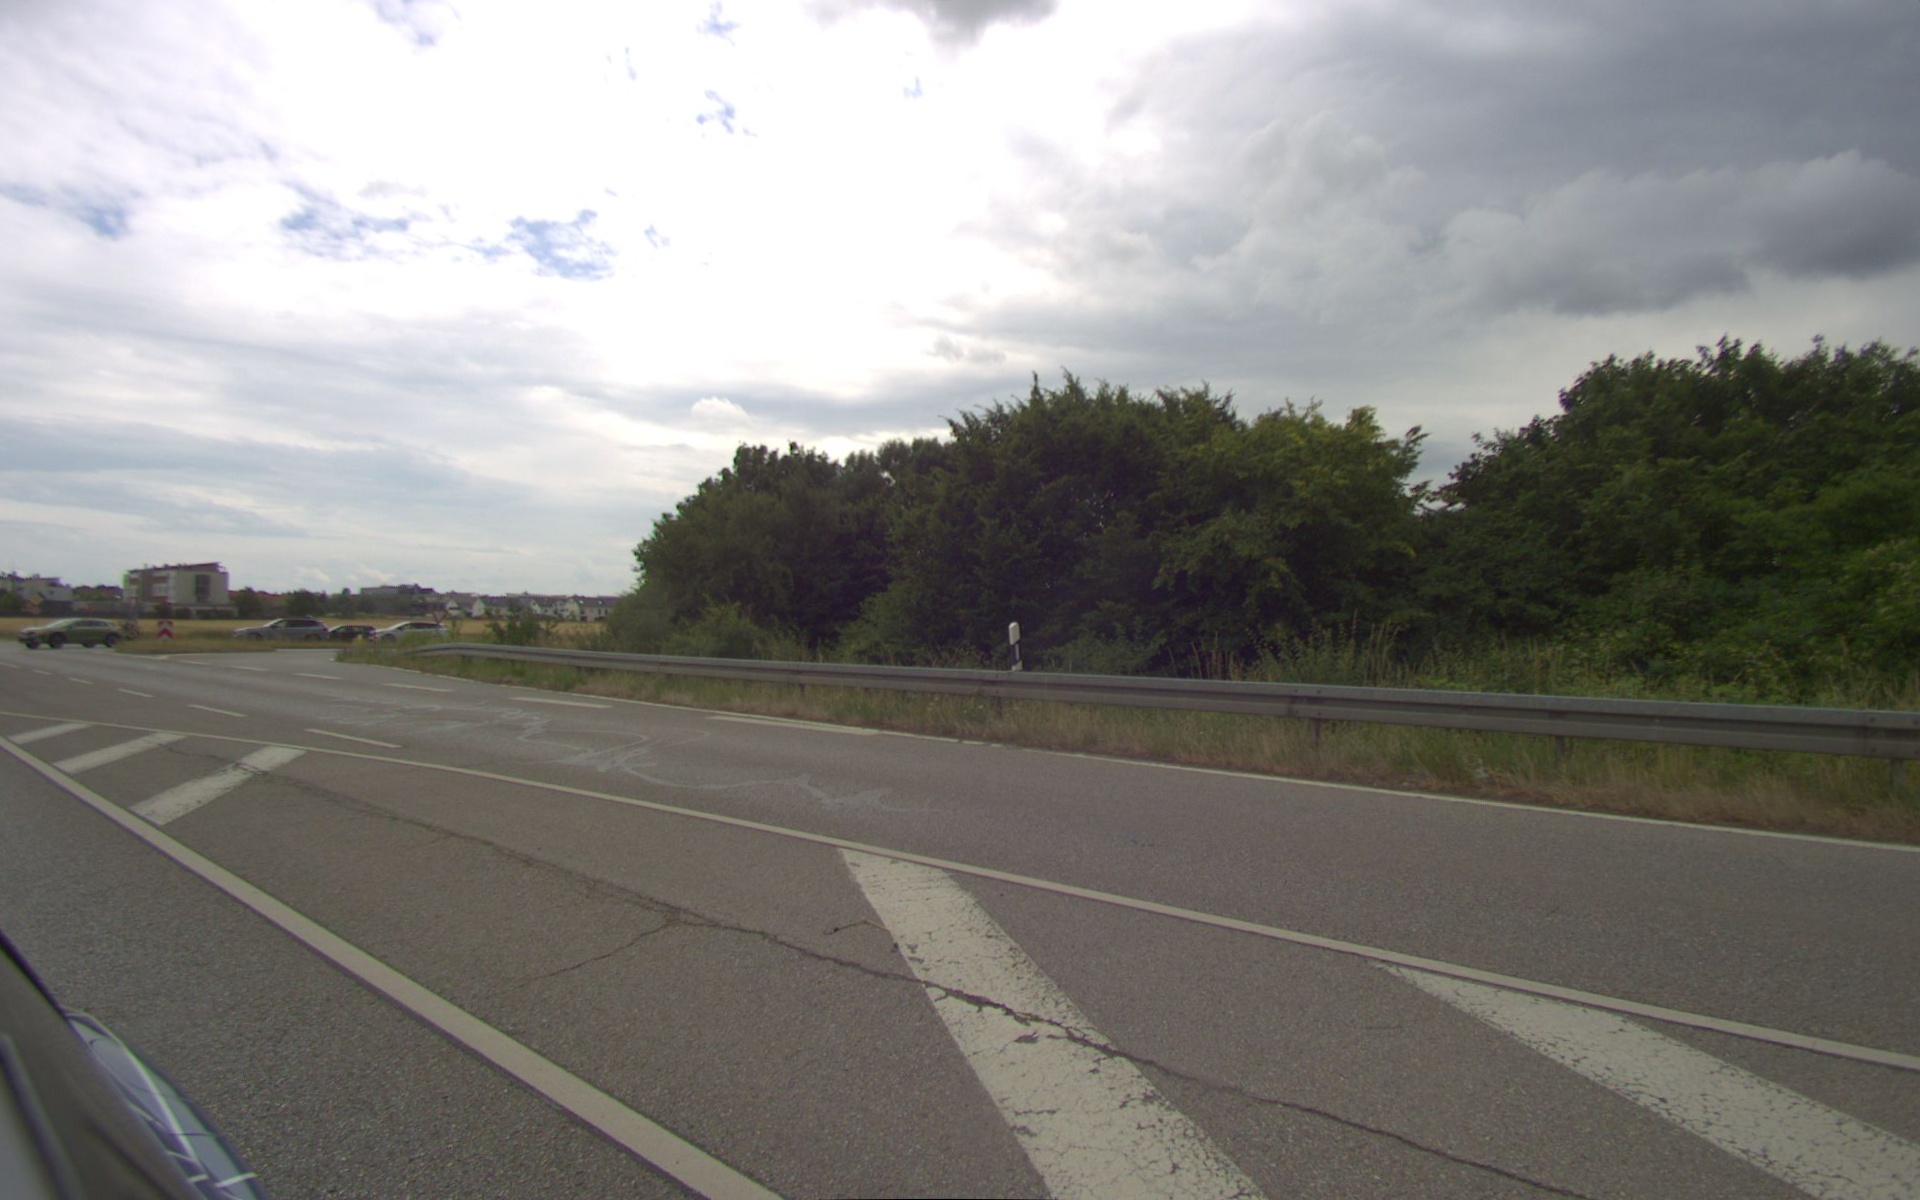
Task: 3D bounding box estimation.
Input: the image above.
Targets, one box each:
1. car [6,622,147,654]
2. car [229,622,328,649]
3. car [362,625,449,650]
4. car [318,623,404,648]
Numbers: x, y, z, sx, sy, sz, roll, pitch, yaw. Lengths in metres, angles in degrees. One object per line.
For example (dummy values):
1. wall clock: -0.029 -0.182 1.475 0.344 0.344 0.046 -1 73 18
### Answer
1. car: -44.824 1.925 51.531 1.892 1.533 5.280 0 -2 13
2. car: -39.800 2.063 59.190 4.568 1.528 1.913 2 -2 -43
3. car: -34.633 2.347 63.323 4.437 1.493 1.913 2 -2 -43
4. car: -37.893 2.237 64.065 4.345 1.493 1.913 2 -2 -43
